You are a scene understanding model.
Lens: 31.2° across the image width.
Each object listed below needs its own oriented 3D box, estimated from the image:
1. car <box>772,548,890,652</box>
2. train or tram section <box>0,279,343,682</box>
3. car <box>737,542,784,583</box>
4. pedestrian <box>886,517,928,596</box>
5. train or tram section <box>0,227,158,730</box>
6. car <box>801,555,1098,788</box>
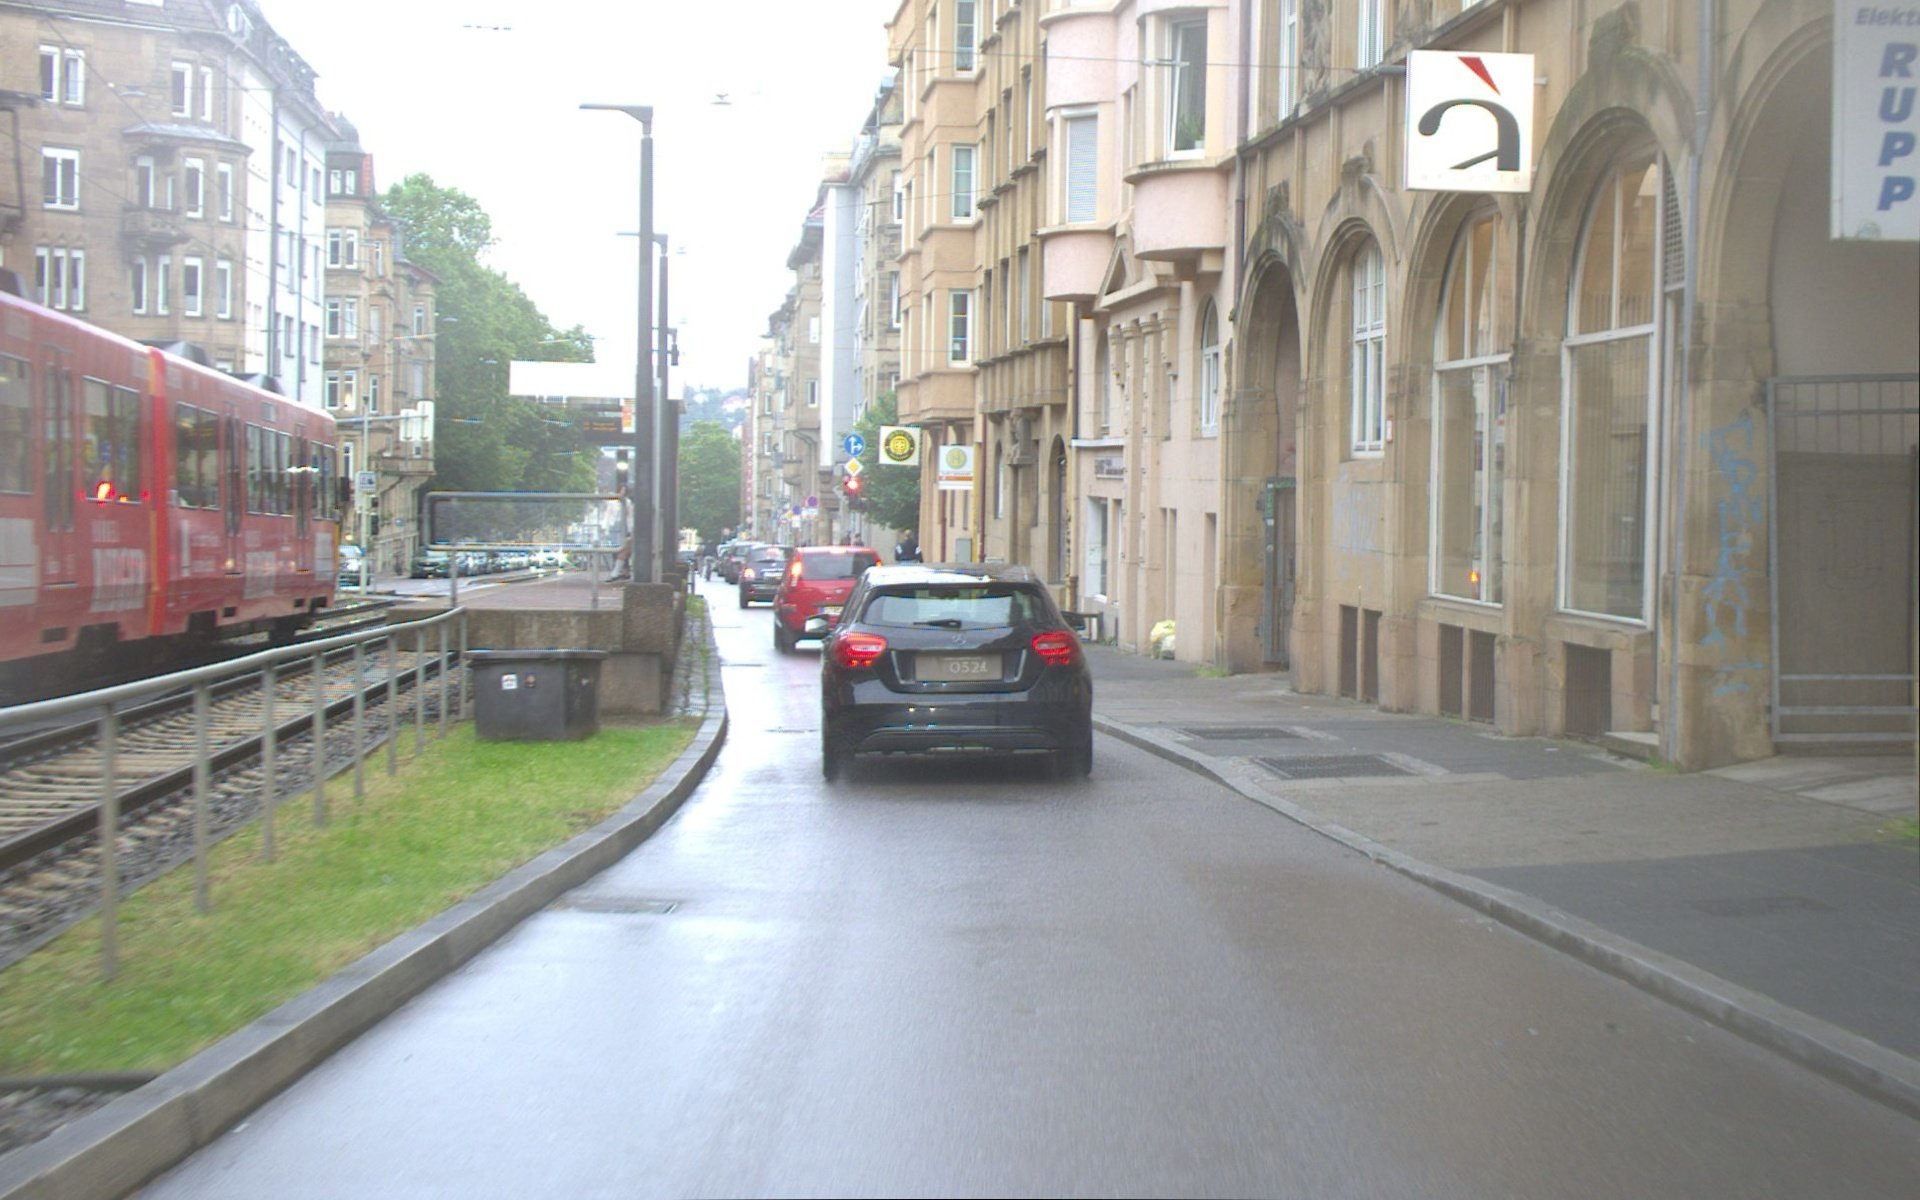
[{"bbox_3d":[-1.918,-0.025,50.498,1.649,1.447,4.001,1,1,-3],"label":"car"},{"bbox_3d":[-10.151,-1.280,43.384,2.714,3.907,19.866,1,1,-5],"label":"train or tram section"},{"bbox_3d":[-7.849,-1.467,134.999,1.765,1.553,4.746,-1,1,-4],"label":"car"},{"bbox_3d":[-1.281,-1.050,82.460,0.899,1.834,0.968,-3,1,-2],"label":"pedestrian"},{"bbox_3d":[-8.690,-0.936,24.953,2.714,3.907,19.301,1,1,-5],"label":"train or tram section"},{"bbox_3d":[-0.159,0.429,23.747,1.866,1.447,4.001,1,1,-3],"label":"car"}]
